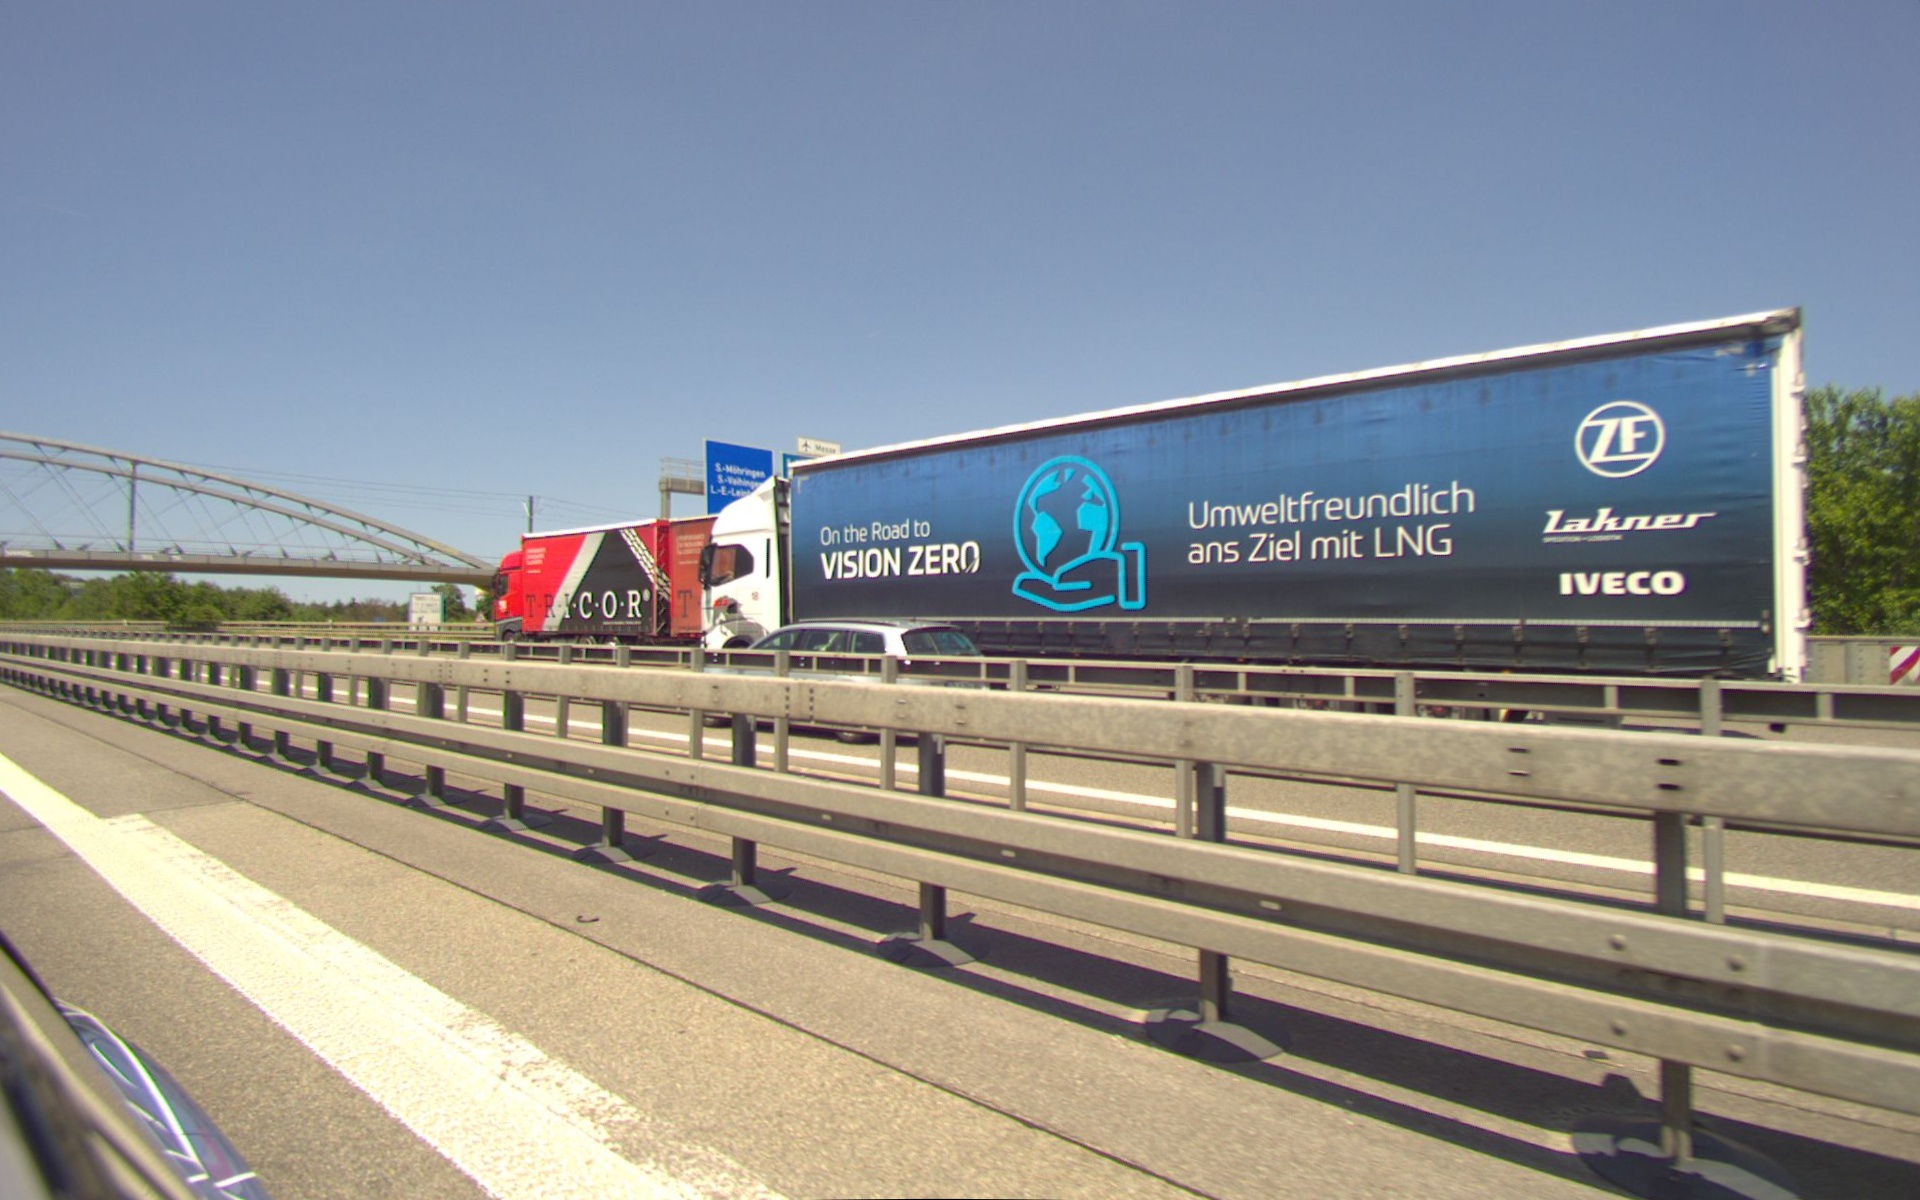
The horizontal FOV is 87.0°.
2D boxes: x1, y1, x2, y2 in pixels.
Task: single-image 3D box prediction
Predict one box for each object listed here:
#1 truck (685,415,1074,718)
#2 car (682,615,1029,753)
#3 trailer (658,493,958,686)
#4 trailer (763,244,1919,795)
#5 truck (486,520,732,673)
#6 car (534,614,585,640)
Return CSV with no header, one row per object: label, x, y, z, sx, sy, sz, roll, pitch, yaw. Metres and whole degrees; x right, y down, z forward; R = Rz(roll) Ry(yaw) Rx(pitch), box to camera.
truck,-1.656,-0.431,17.995,6.911,4.377,2.897,-1,-1,41
car,-1.499,0.952,13.083,4.637,1.475,1.848,-2,-2,42
trailer,-4.141,-0.155,25.548,8.713,4.136,2.532,-1,-1,42
trailer,3.031,-0.542,13.918,14.612,4.375,2.915,-1,-1,41
truck,-11.353,-0.007,31.905,10.342,4.147,2.555,-1,-1,41
car,-28.494,1.889,71.988,4.000,1.757,1.849,-1,-1,43
